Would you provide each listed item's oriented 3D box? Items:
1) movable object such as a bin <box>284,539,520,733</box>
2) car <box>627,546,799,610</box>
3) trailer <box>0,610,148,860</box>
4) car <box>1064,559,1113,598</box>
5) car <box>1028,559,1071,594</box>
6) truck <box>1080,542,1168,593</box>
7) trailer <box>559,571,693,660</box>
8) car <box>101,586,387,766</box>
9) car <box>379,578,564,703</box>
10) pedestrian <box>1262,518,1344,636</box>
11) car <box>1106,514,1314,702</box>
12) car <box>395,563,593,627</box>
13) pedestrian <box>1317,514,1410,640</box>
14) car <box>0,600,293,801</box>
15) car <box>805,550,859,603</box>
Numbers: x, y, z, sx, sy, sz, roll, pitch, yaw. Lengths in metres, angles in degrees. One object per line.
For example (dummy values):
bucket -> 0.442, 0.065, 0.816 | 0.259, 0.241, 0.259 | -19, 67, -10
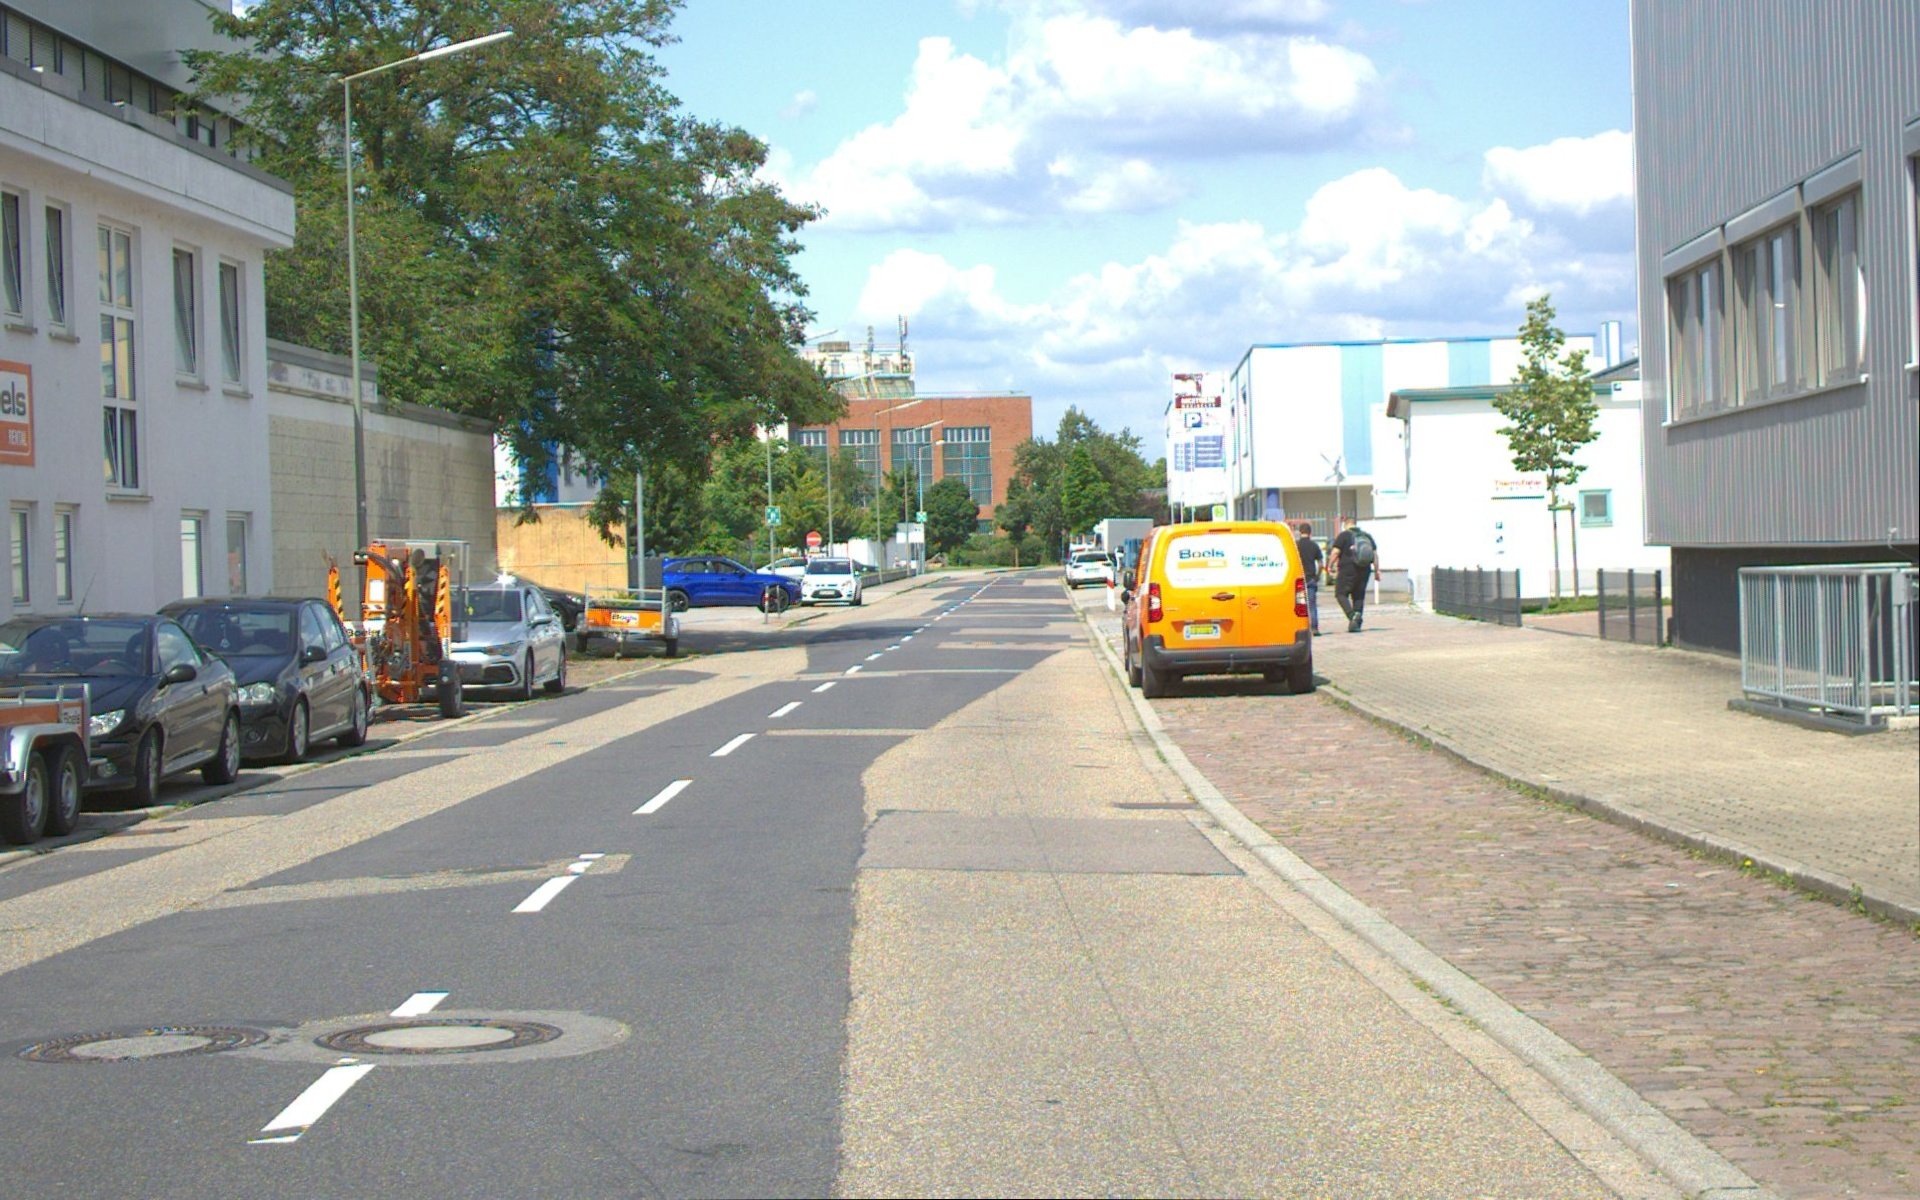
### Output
movable object such as a bin -> -5.970, 0.319, 37.328 | 1.614, 1.912, 5.138 | 2, 1, 1
car -> -7.149, -0.637, 99.314 | 4.685, 1.587, 1.916 | -3, 1, -12
trailer -> -6.358, 0.785, 20.698 | 1.767, 1.372, 5.051 | 0, 1, 0
car -> 5.239, -0.899, 140.870 | 1.867, 1.515, 4.598 | -1, 1, 1
car -> 3.971, -1.045, 153.556 | 1.835, 1.515, 4.461 | -1, 1, 1
truck -> 12.474, -2.525, 260.567 | 2.325, 3.555, 9.351 | 0, 3, 32
trailer -> -5.739, 0.240, 59.448 | 1.767, 1.434, 4.336 | 1, 1, 2
car -> -6.262, 0.616, 30.484 | 1.673, 1.450, 4.224 | 0, 1, 0
car -> -6.018, 0.460, 42.787 | 1.673, 1.450, 4.514 | 0, 1, 0
pedestrian -> 5.390, -0.360, 54.054 | 0.856, 1.801, 1.006 | -3, 1, -21
car -> 2.690, 0.058, 37.928 | 1.872, 1.886, 4.453 | 2, 1, 0
car -> -10.187, -0.117, 75.352 | 3.993, 1.357, 1.794 | 0, 0, 5
pedestrian -> 6.419, -0.361, 54.764 | 0.989, 1.945, 1.091 | -3, 1, -21
car -> -6.278, 0.710, 26.149 | 1.673, 1.372, 3.884 | 0, 1, 0
car -> -4.134, -0.771, 111.273 | 1.685, 1.658, 4.001 | -1, 1, -2
